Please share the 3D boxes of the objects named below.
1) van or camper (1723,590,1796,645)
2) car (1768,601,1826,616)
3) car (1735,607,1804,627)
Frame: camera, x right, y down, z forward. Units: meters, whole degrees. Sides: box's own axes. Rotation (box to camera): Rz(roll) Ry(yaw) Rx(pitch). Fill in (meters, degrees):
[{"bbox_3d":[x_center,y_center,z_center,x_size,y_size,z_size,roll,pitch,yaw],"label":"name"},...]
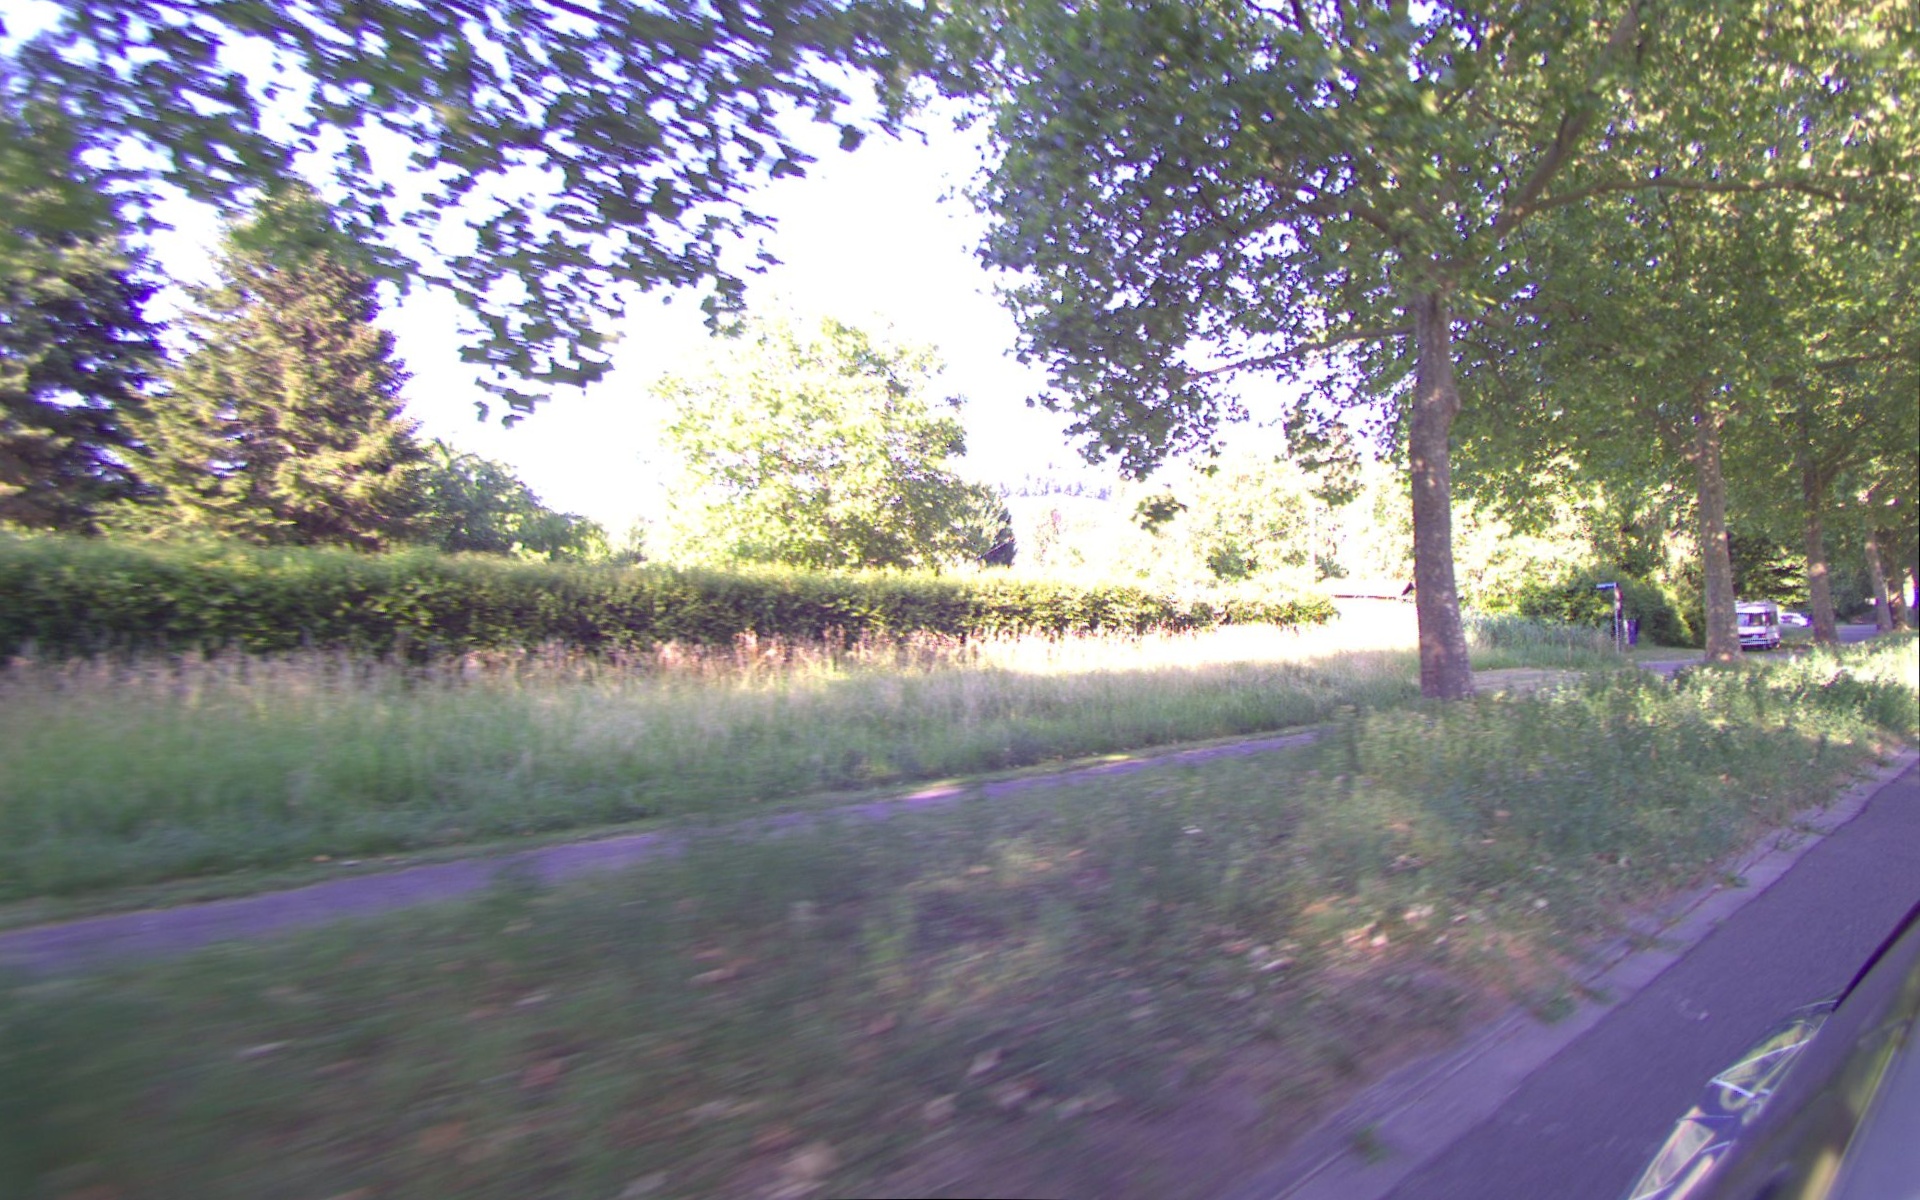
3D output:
[{"bbox_3d":[43.763,0.898,55.323,5.591,2.835,2.382,-1,0,-44],"label":"van or camper"},{"bbox_3d":[81.326,0.797,98.319,1.963,1.404,3.998,0,0,-37],"label":"car"},{"bbox_3d":[72.353,1.526,90.477,1.963,1.691,4.513,0,0,-37],"label":"car"}]
